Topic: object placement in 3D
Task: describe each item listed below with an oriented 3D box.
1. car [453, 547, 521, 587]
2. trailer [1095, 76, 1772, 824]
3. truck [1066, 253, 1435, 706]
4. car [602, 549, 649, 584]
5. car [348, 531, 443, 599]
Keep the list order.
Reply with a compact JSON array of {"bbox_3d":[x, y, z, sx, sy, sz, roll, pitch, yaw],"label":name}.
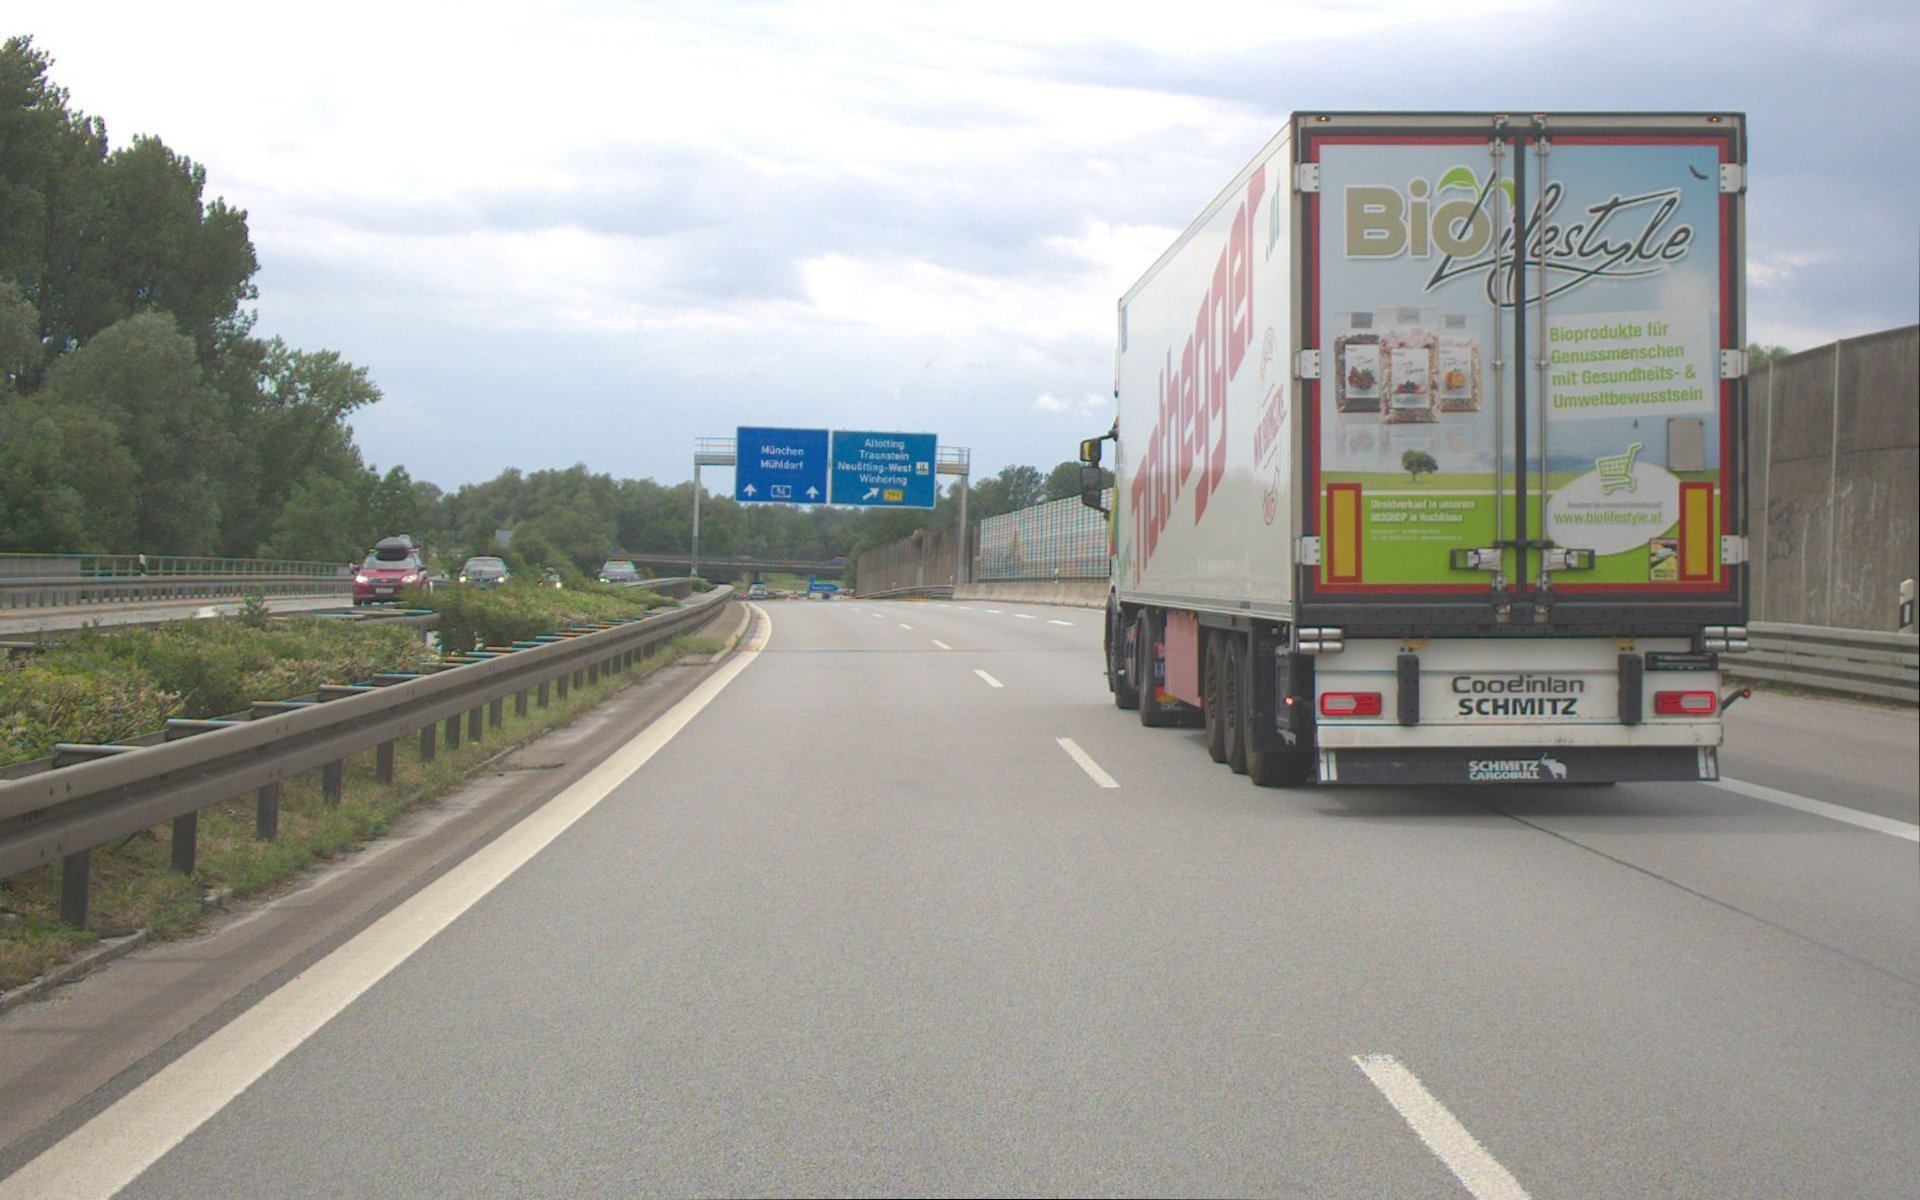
[{"bbox_3d":[-16.880,-1.186,122.846,1.969,1.399,4.710,0,1,-3],"label":"car"},{"bbox_3d":[2.926,-0.923,26.263,2.792,4.160,14.105,0,1,-2],"label":"trailer"},{"bbox_3d":[2.634,-1.086,32.900,2.755,3.946,5.678,0,1,-3],"label":"truck"},{"bbox_3d":[-14.846,-1.505,152.679,1.841,1.525,4.836,0,1,-3],"label":"car"},{"bbox_3d":[-15.181,-0.945,92.644,1.969,1.755,4.945,1,1,-3],"label":"car"}]
